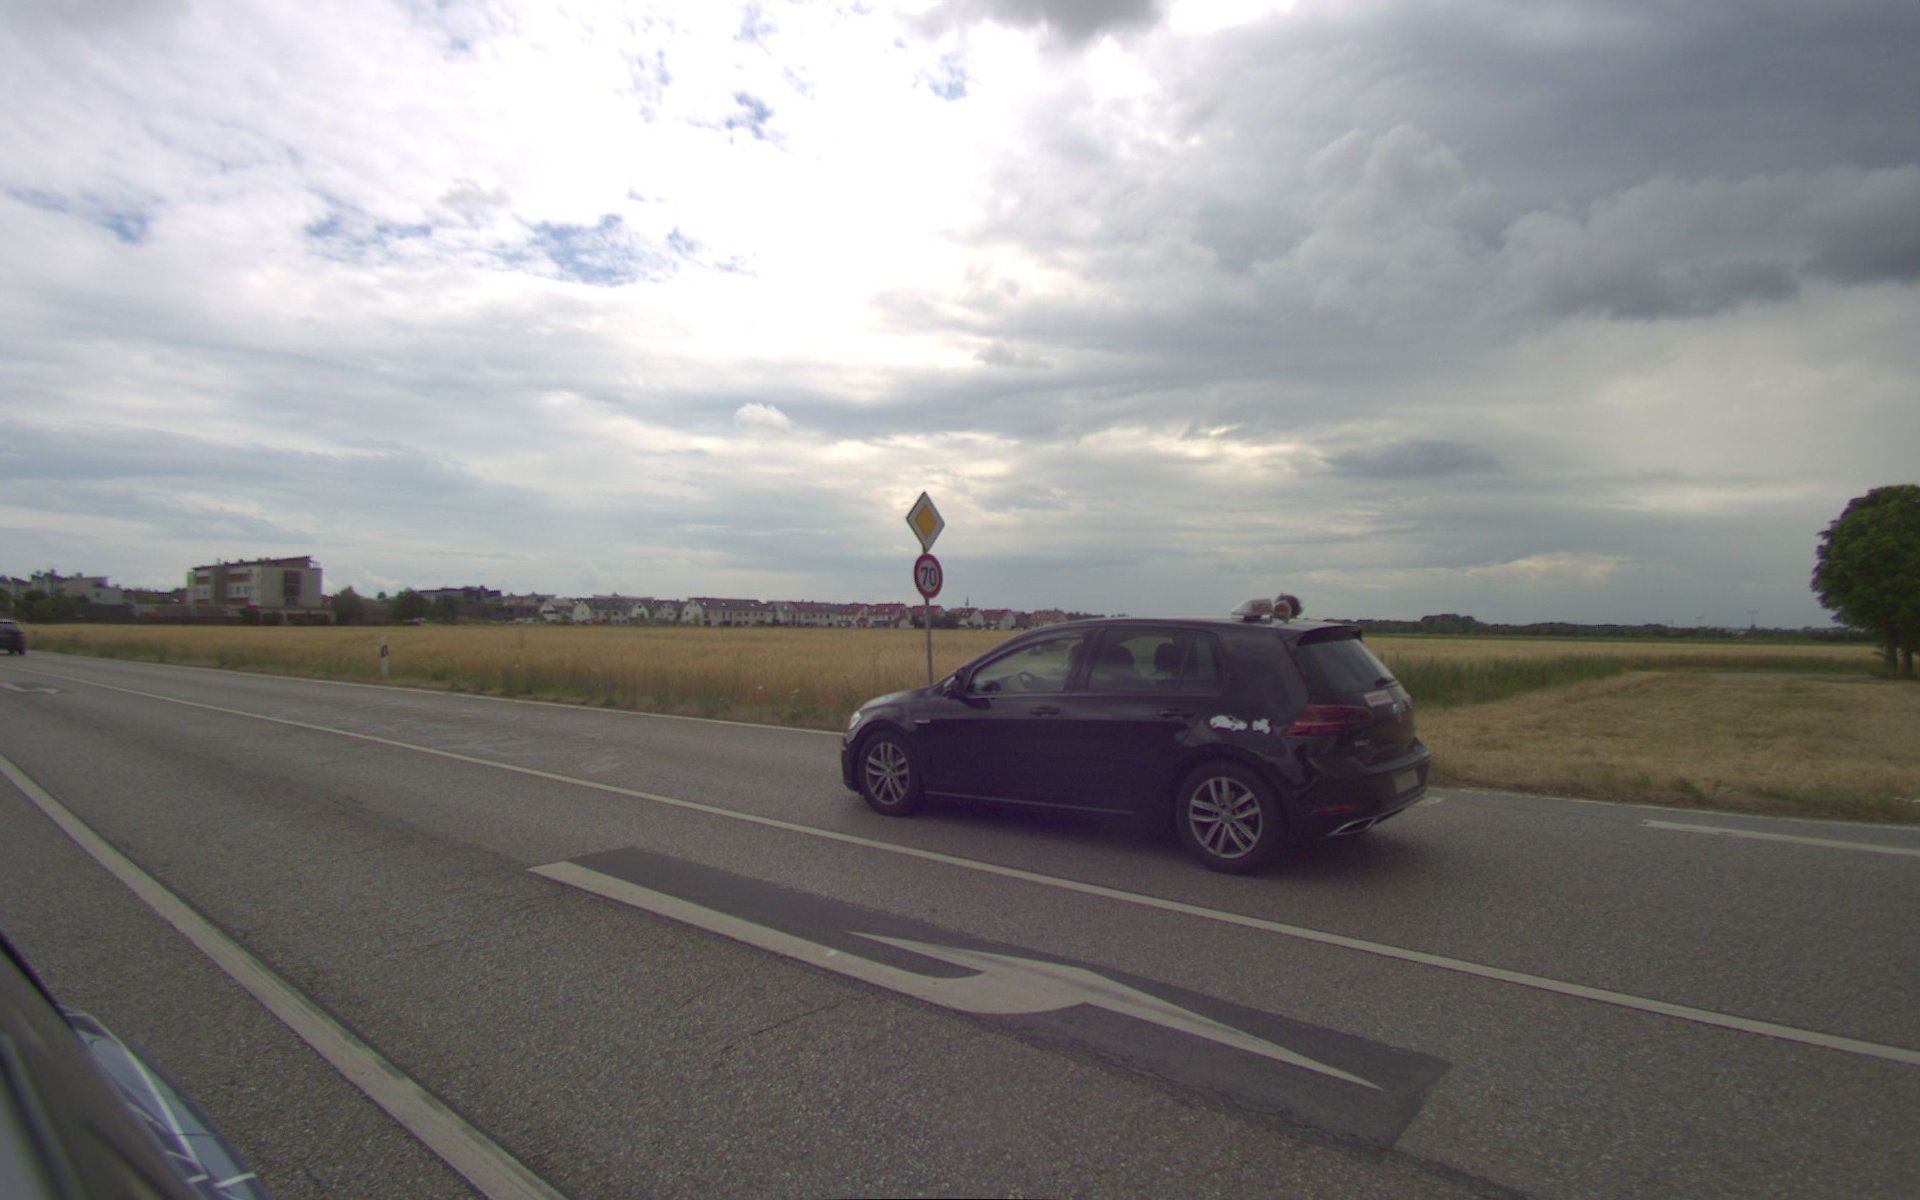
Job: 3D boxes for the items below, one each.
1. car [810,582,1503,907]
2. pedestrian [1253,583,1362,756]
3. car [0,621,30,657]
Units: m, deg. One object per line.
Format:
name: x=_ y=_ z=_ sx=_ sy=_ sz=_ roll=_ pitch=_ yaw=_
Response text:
car: x=1.048 y=0.709 z=6.875 sx=4.394 sy=1.533 sz=1.661 roll=-1 pitch=-1 yaw=41
pedestrian: x=3.432 y=0.673 z=10.001 sx=0.865 sy=1.617 sz=0.587 roll=-1 pitch=-5 yaw=39
car: x=-40.732 y=1.622 z=42.638 sx=4.128 sy=1.469 sz=1.718 roll=-1 pitch=-2 yaw=40
